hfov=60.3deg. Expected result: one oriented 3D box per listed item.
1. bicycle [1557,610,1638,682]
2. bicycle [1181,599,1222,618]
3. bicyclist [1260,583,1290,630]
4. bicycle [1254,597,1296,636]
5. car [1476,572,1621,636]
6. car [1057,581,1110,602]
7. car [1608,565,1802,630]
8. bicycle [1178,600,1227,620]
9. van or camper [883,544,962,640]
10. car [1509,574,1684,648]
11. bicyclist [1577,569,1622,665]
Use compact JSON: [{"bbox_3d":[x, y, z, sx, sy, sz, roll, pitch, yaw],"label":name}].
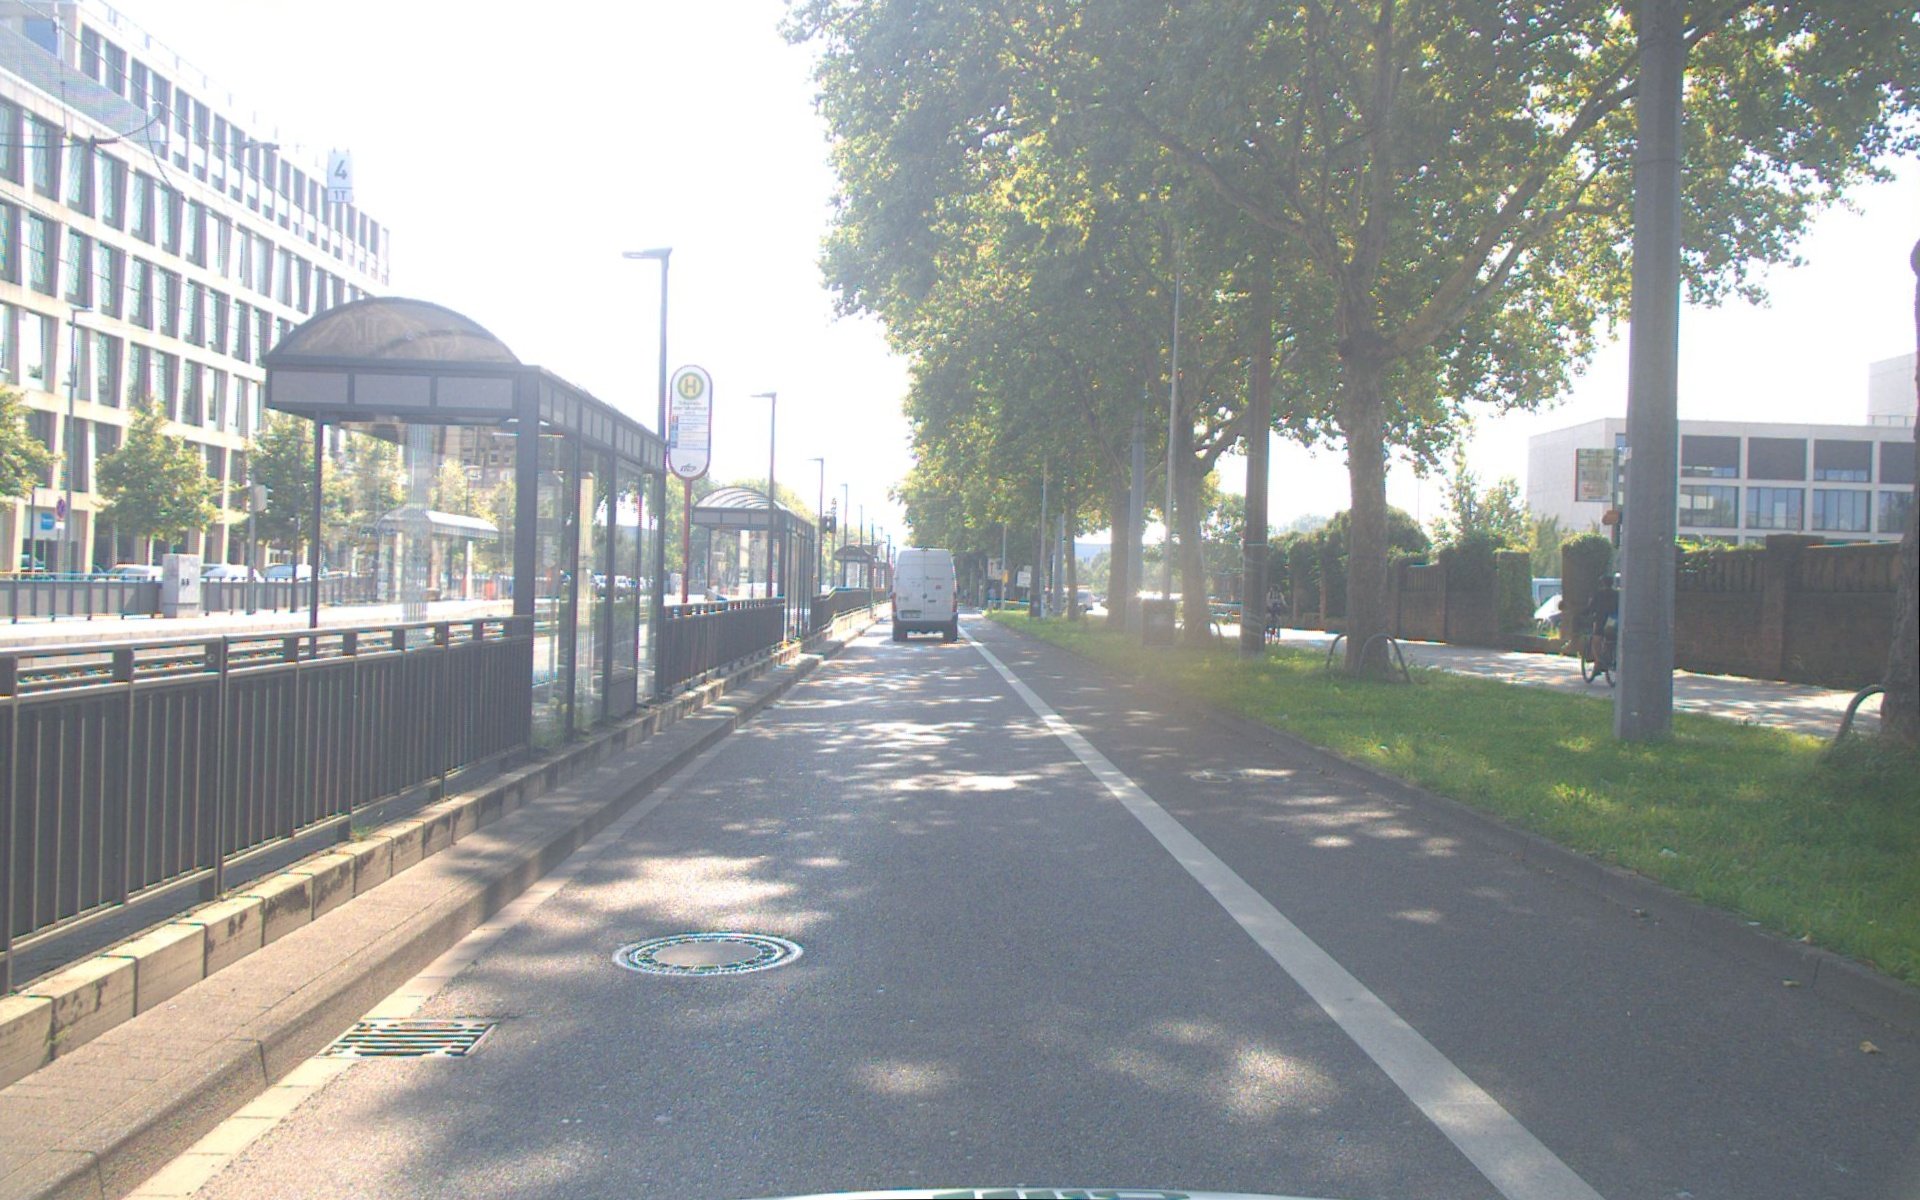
[{"bbox_3d":[10.614,0.745,27.595,0.481,1.108,1.856,1,1,-4],"label":"bicycle"},{"bbox_3d":[11.512,0.417,78.938,1.893,0.861,0.372,1,0,-2],"label":"bicycle"},{"bbox_3d":[8.796,0.164,46.226,0.656,1.298,0.728,0,0,-3],"label":"bicyclist"},{"bbox_3d":[8.784,0.443,46.179,0.668,1.022,2.217,0,0,-2],"label":"bicycle"},{"bbox_3d":[18.157,0.111,51.094,3.922,1.875,1.560,1,0,-4],"label":"car"},{"bbox_3d":[9.651,-0.688,129.127,3.907,1.400,1.999,3,-1,-2],"label":"car"},{"bbox_3d":[17.476,-0.057,38.890,3.908,1.428,1.502,1,0,-4],"label":"car"},{"bbox_3d":[11.139,0.455,75.969,2.136,0.861,0.503,1,0,-1],"label":"bicycle"},{"bbox_3d":[-1.208,-0.246,50.255,2.074,2.729,5.245,0,0,-5],"label":"van or camper"},{"bbox_3d":[17.328,0.296,45.124,4.188,1.925,1.560,1,0,-4],"label":"car"},{"bbox_3d":[10.620,0.271,27.490,0.460,1.566,0.596,1,0,-5],"label":"bicyclist"}]
